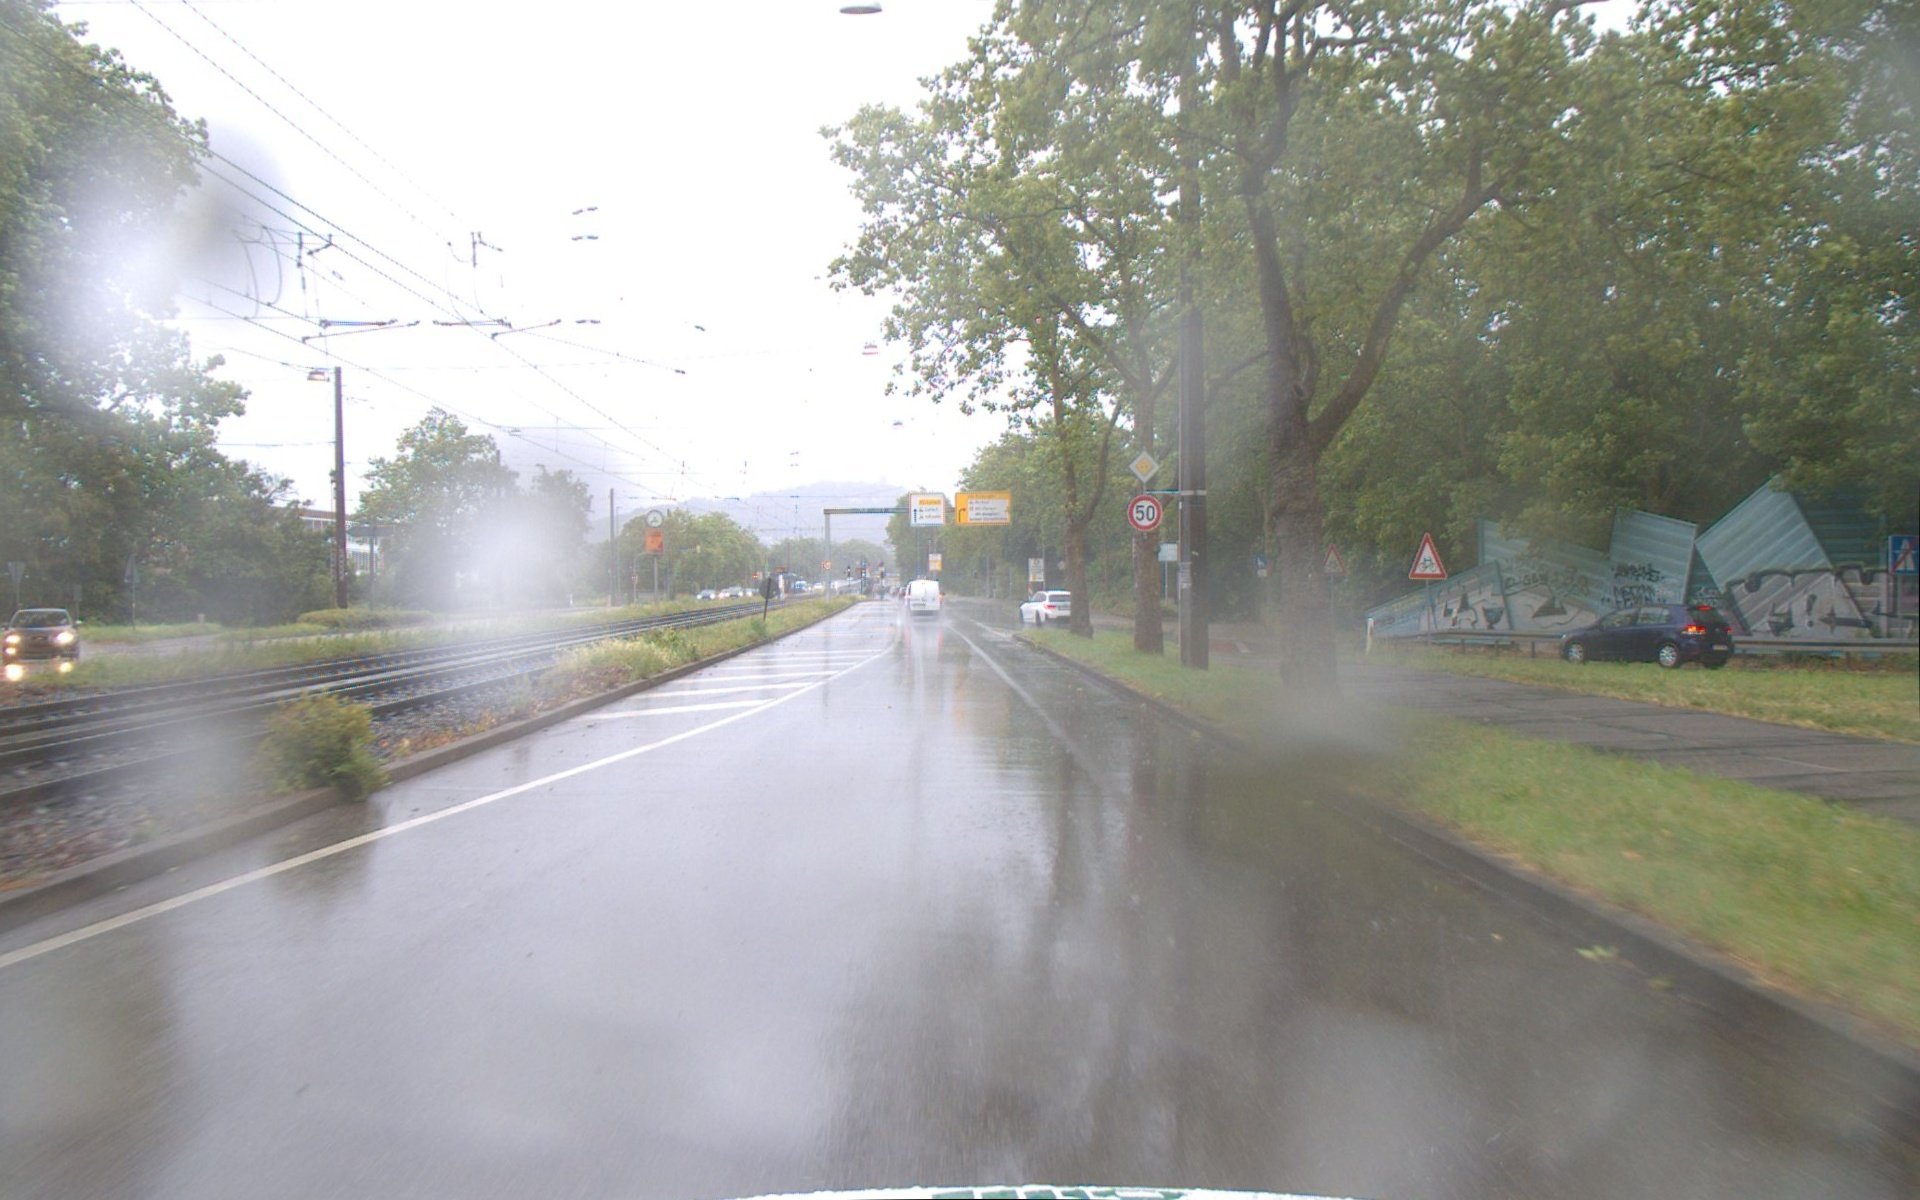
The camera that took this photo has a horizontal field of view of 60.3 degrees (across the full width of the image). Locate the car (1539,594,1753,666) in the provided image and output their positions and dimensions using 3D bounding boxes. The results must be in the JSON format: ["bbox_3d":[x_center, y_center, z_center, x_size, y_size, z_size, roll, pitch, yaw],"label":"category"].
[{"bbox_3d":[15.814,0.639,38.388,1.842,1.563,4.475,0,0,-28],"label":"car"}]

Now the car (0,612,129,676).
[{"bbox_3d":[-24.084,1.151,44.477,1.618,1.596,4.045,0,0,-3],"label":"car"}]

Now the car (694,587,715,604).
[{"bbox_3d":[-27.214,-0.519,176.585,1.905,1.716,4.775,-1,1,-5],"label":"car"}]

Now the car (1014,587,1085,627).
[{"bbox_3d":[3.587,0.250,67.007,1.913,1.563,4.456,0,0,-10],"label":"car"}]

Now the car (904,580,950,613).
[{"bbox_3d":[-1.577,-0.174,77.906,2.036,1.445,3.998,-2,0,-2],"label":"car"}]

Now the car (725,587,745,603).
[{"bbox_3d":[-23.967,-0.557,176.117,1.906,1.644,4.982,-1,1,-6],"label":"car"}]
